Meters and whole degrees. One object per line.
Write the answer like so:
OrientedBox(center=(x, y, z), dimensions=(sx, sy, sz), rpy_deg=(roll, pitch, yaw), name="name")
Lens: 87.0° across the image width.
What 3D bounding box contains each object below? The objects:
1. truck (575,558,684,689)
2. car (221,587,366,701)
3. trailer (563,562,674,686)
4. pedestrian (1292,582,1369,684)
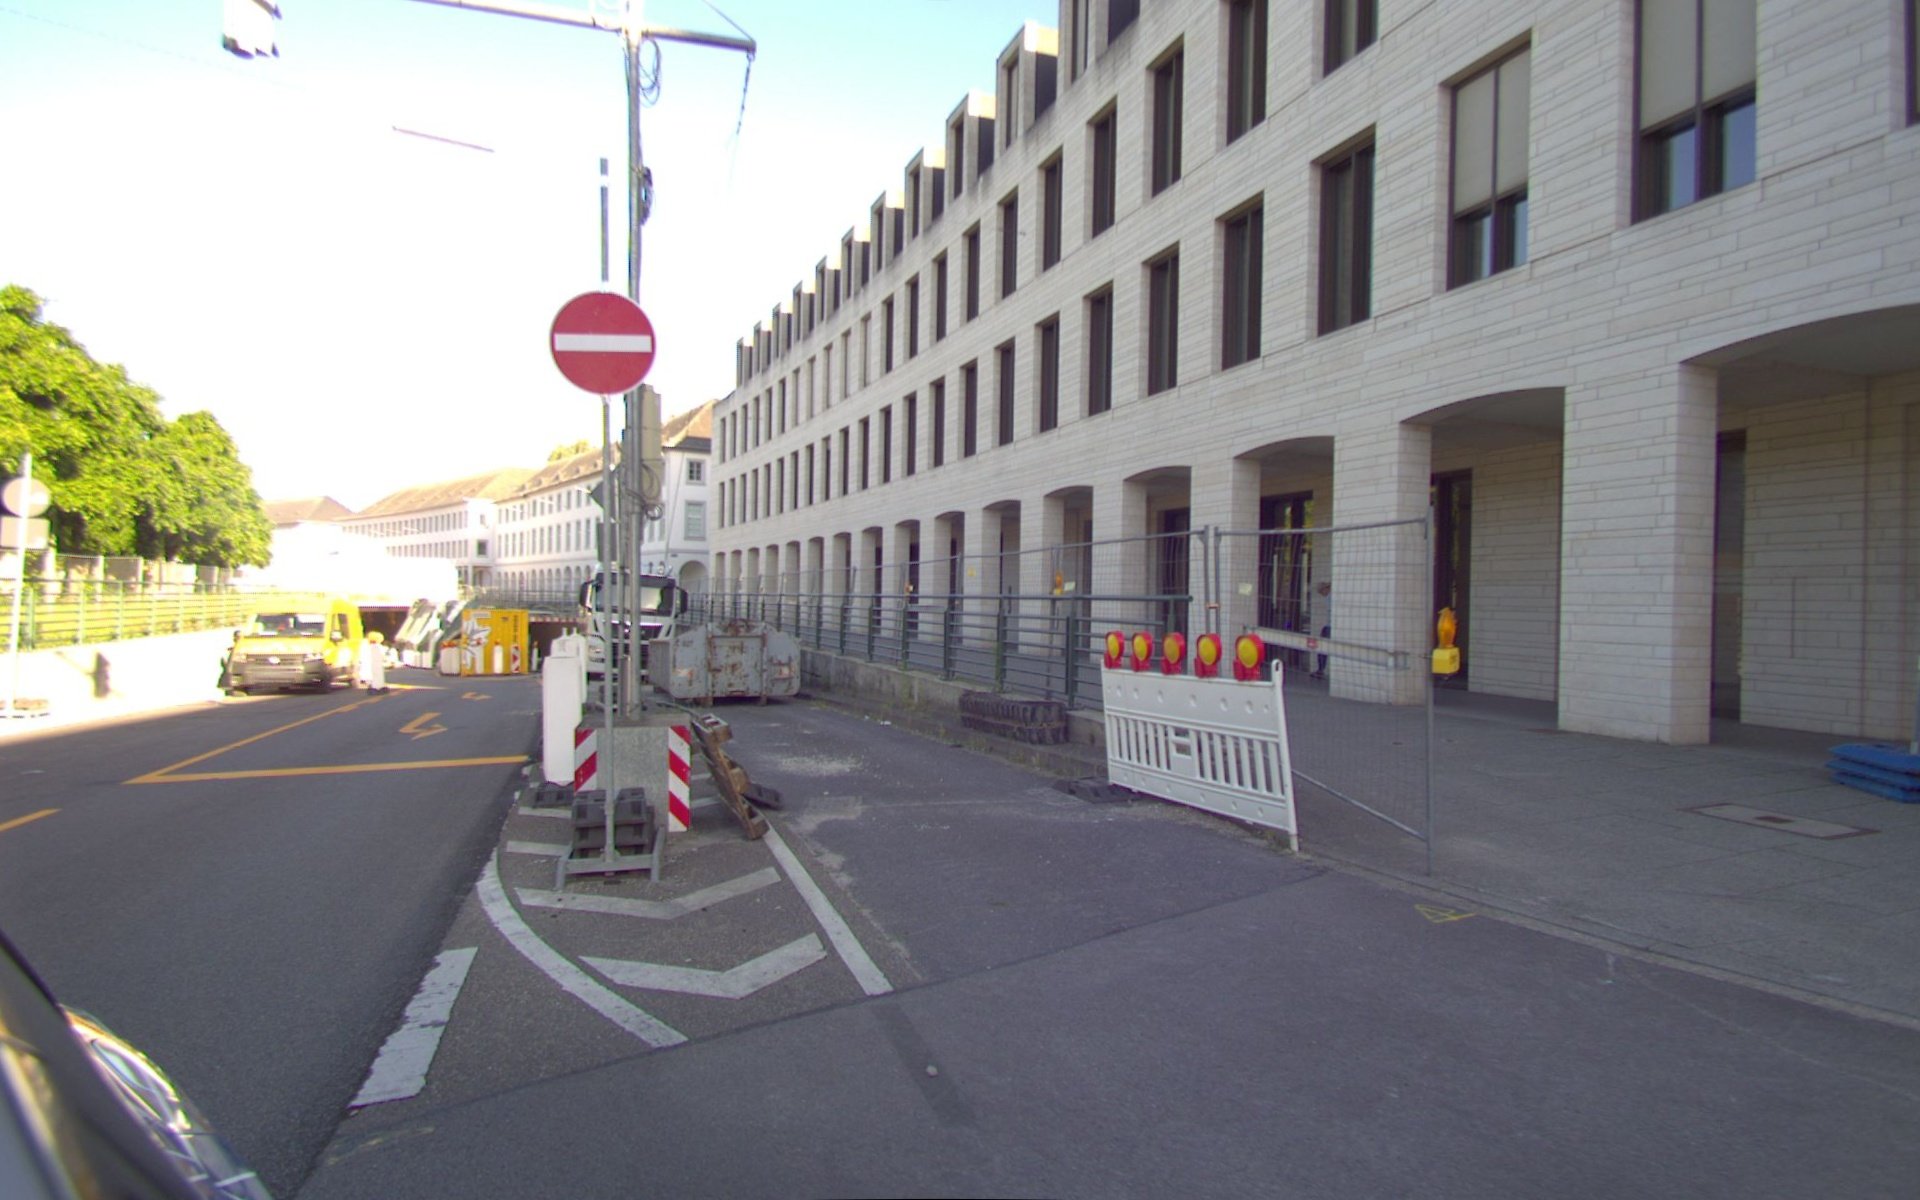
OrientedBox(center=(-10.282, 0.817, 31.121), dimensions=(2.543, 3.516, 5.834), rpy_deg=(5, -5, -22), name="truck")
OrientedBox(center=(-17.643, 1.190, 27.205), dimensions=(2.082, 2.645, 7.009), rpy_deg=(1, -3, -24), name="car")
OrientedBox(center=(-12.242, 0.977, 35.693), dimensions=(2.605, 3.697, 8.776), rpy_deg=(5, -5, -24), name="trailer")
OrientedBox(center=(6.305, 0.557, 17.262), dimensions=(0.845, 1.698, 0.882), rpy_deg=(1, -1, -20), name="pedestrian")
